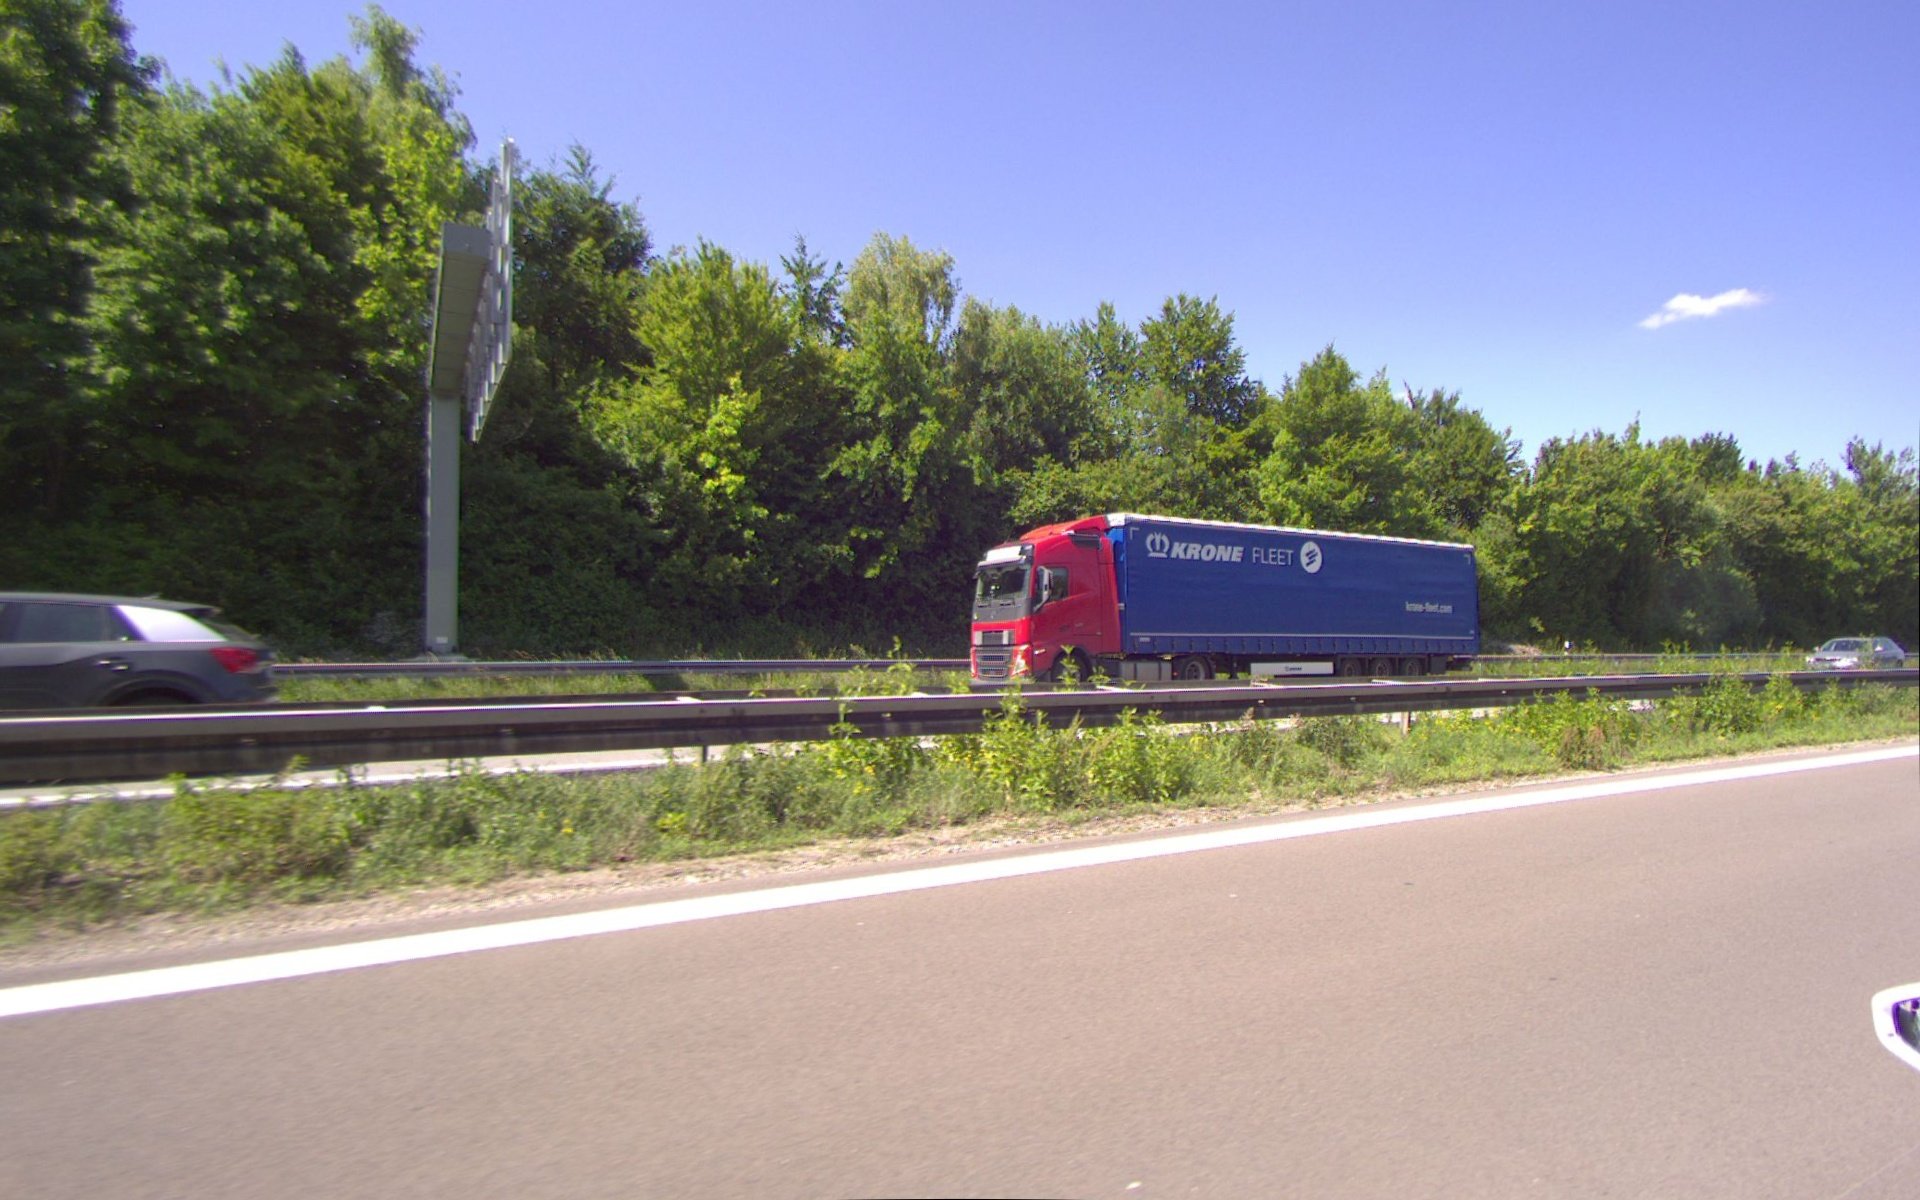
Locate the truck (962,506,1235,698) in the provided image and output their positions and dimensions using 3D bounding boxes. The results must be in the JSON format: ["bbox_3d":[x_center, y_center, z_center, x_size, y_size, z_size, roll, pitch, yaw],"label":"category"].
[{"bbox_3d":[3.372,0.162,24.245,6.136,4.114,2.773,1,-3,-30],"label":"truck"}]

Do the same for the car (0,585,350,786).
[{"bbox_3d":[-7.674,0.655,8.328,4.382,1.503,1.873,1,-2,-30],"label":"car"}]

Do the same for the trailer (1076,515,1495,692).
[{"bbox_3d":[9.440,0.293,27.767,13.387,4.093,2.773,1,-3,-30],"label":"trailer"}]

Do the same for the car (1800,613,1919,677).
[{"bbox_3d":[32.404,1.618,35.933,5.188,2.124,1.984,3,-2,-30],"label":"car"}]
